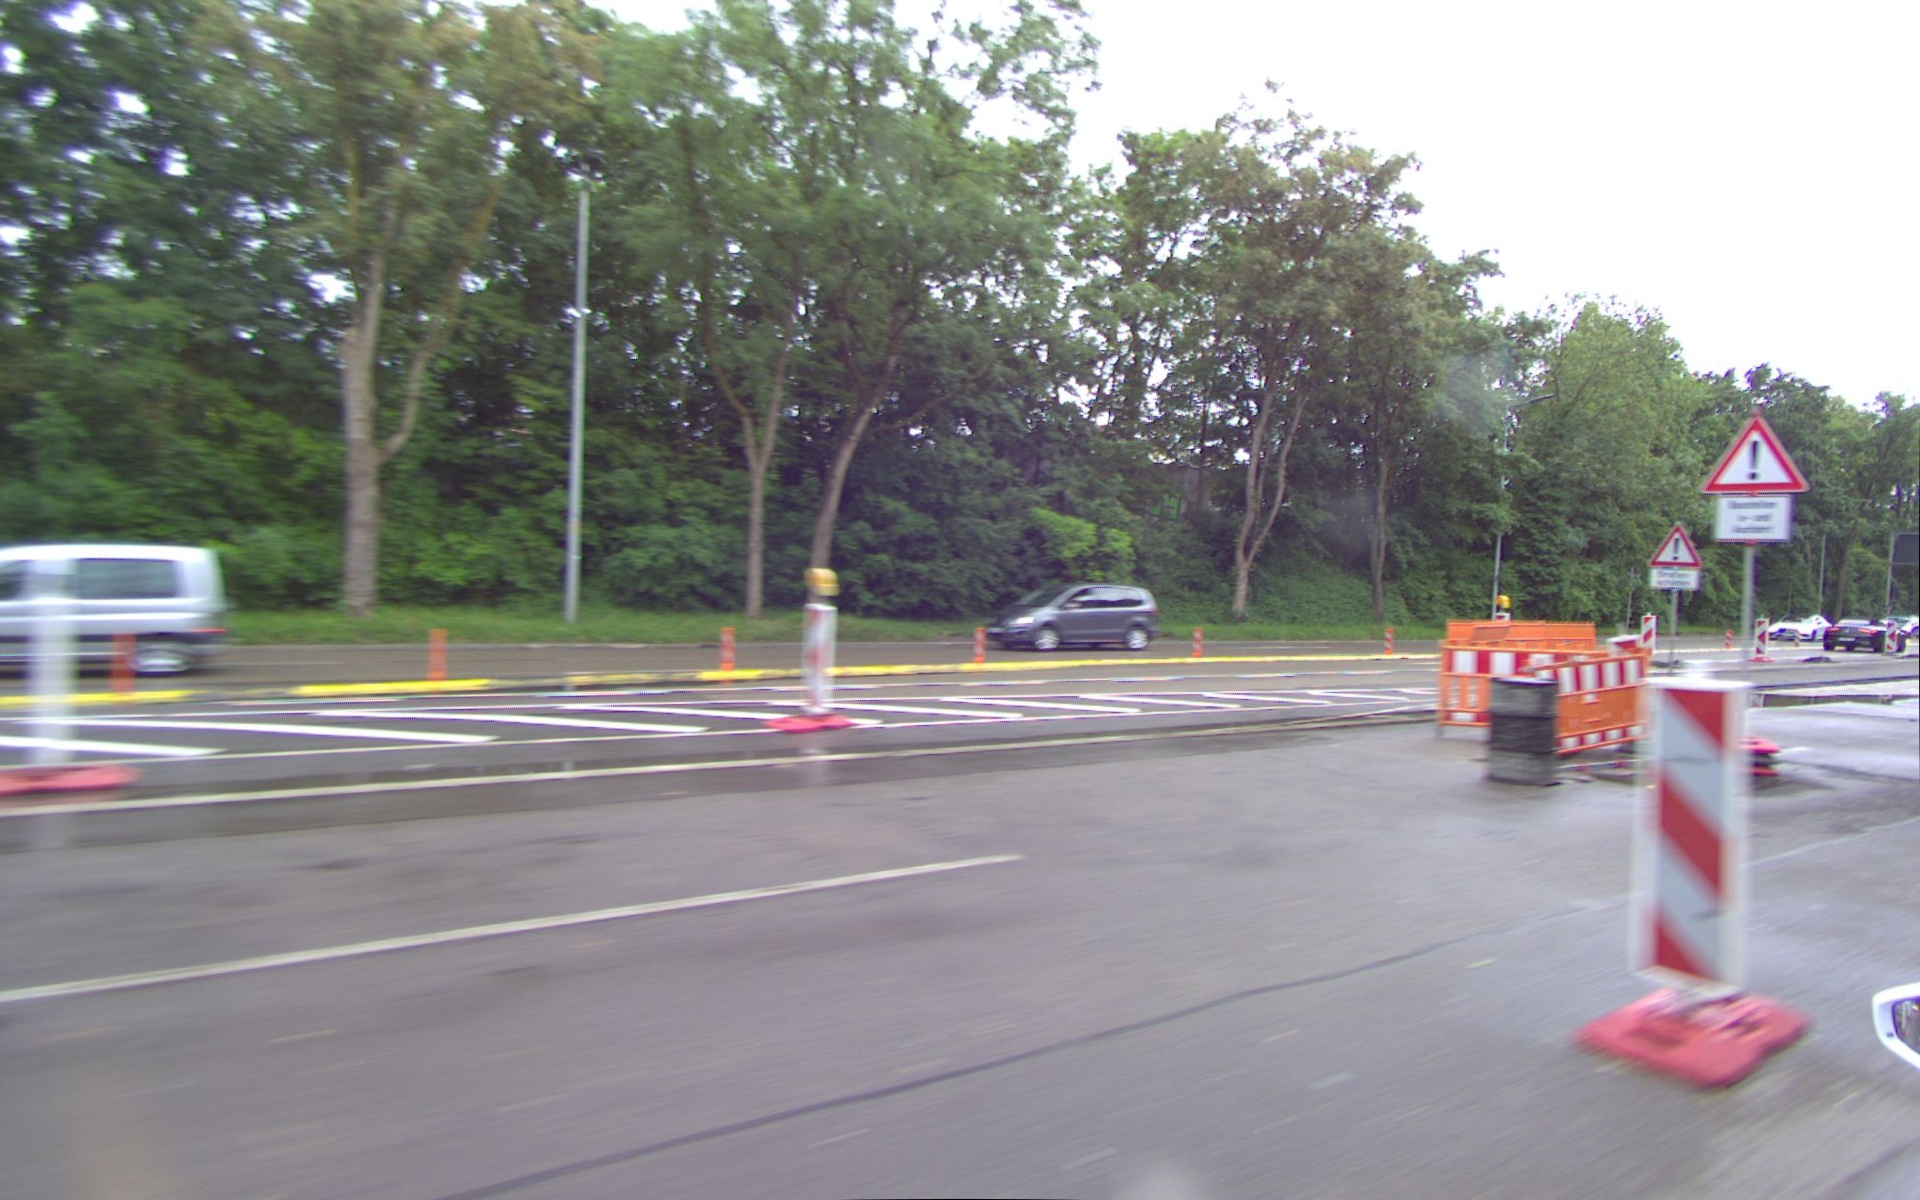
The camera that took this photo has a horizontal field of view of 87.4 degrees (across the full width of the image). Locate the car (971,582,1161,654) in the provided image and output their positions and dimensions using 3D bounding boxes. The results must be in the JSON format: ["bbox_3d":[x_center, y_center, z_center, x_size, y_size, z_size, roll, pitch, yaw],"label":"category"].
[{"bbox_3d":[2.740,0.447,25.683,4.598,1.687,1.918,1,0,-30],"label":"car"}]

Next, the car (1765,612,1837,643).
[{"bbox_3d":[44.885,1.469,53.601,3.953,1.623,1.710,1,0,-30],"label":"car"}]

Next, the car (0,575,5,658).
[{"bbox_3d":[-16.294,0.222,13.930,4.182,1.280,1.419,1,1,-32],"label":"car"}]

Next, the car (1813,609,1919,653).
[{"bbox_3d":[36.836,1.220,40.787,3.946,1.512,1.856,-1,4,-26],"label":"car"}]

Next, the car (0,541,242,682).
[{"bbox_3d":[-11.891,0.138,13.002,4.083,1.718,1.420,1,0,-32],"label":"car"}]

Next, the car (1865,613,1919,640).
[{"bbox_3d":[62.256,1.738,66.681,4.598,1.687,1.918,1,0,-30],"label":"car"}]
